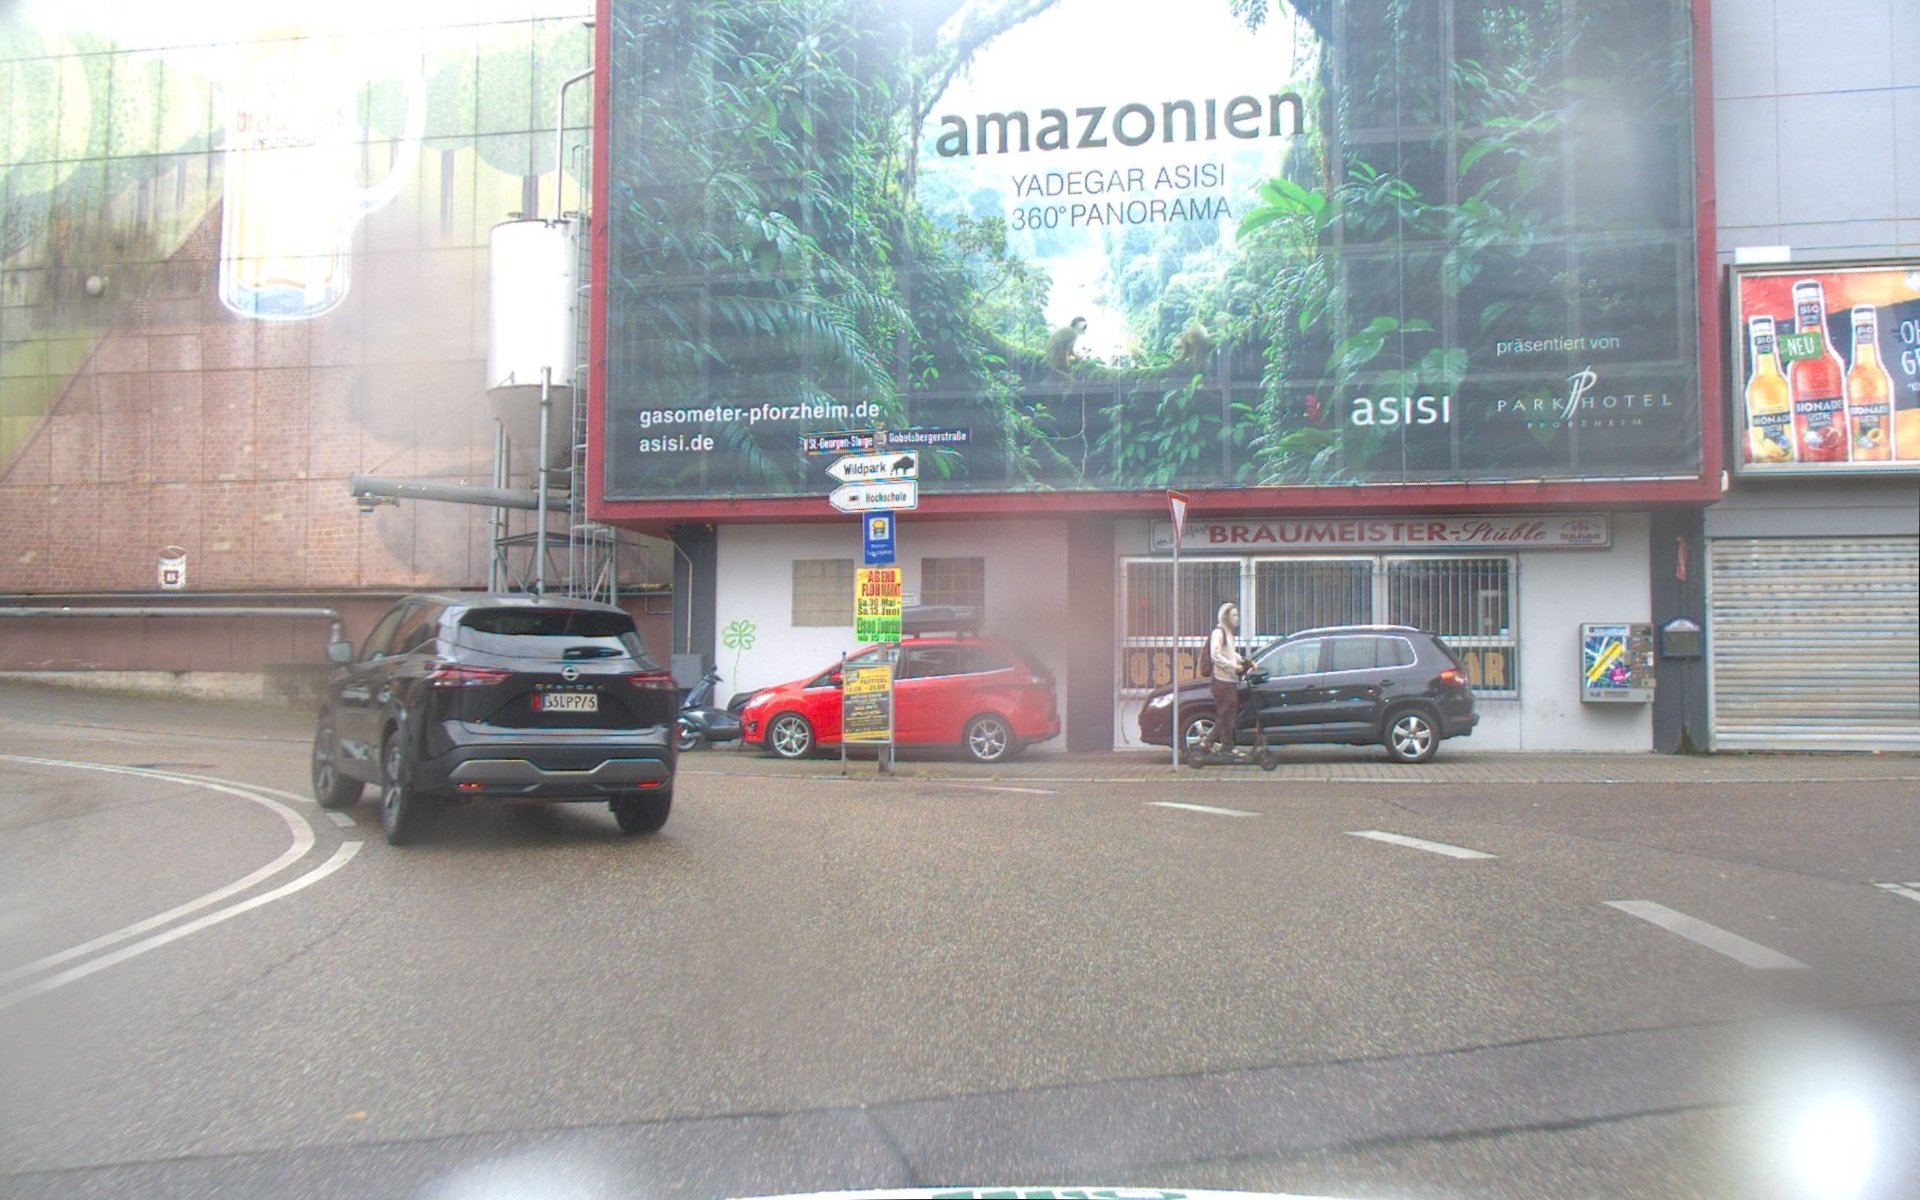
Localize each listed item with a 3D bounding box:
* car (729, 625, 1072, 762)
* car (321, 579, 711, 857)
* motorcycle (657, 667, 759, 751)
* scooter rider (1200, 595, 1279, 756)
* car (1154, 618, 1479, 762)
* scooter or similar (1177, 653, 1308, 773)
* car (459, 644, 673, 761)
[{"bbox_3d":[-0.772,1.265,22.898,4.381,1.742,1.934,0,-3,12],"label":"car"},{"bbox_3d":[-3.319,0.724,11.814,1.860,1.622,3.884,0,-1,-28],"label":"car"},{"bbox_3d":[-3.660,1.586,24.092,1.390,1.181,0.452,1,-4,-1],"label":"motorcycle"},{"bbox_3d":[3.302,0.875,19.528,0.763,1.853,0.804,-1,-2,22],"label":"scooter rider"},{"bbox_3d":[4.573,1.160,21.413,3.902,1.742,1.934,-1,-2,12],"label":"car"},{"bbox_3d":[3.333,1.308,19.500,1.375,1.346,0.804,-1,-2,22],"label":"scooter or similar"},{"bbox_3d":[-5.945,1.501,25.461,1.829,1.560,3.995,1,0,9],"label":"car"}]
